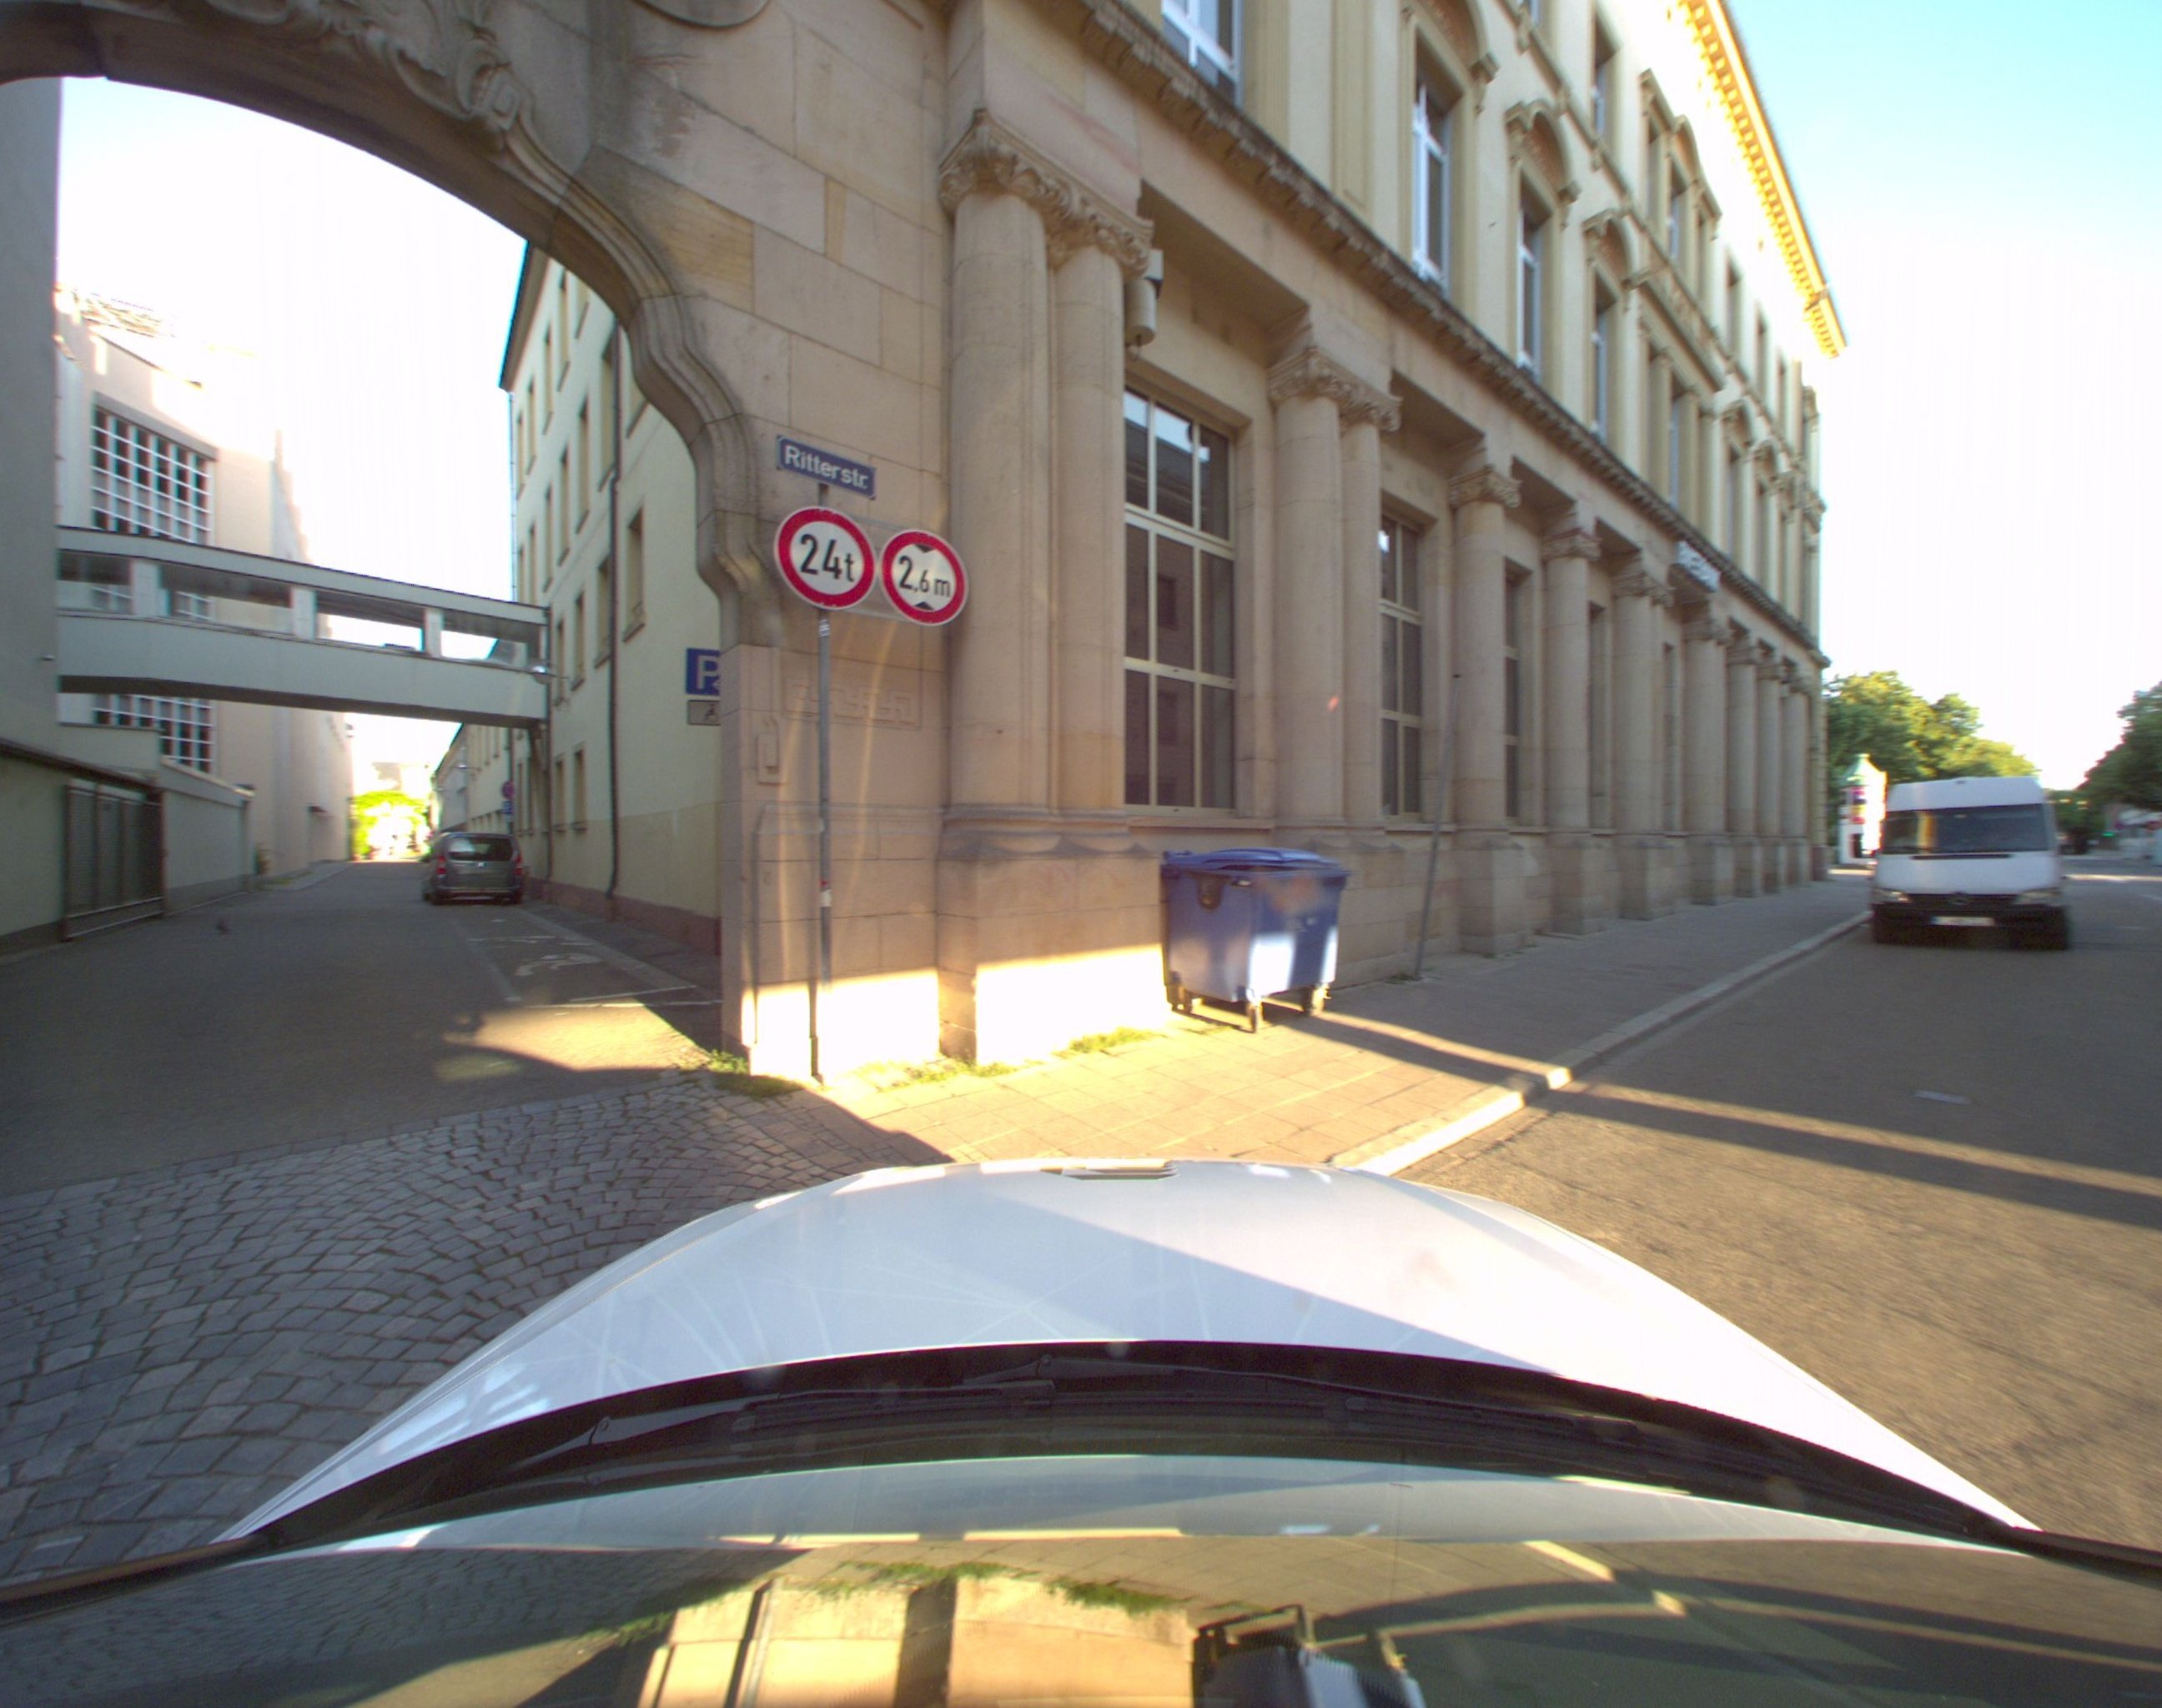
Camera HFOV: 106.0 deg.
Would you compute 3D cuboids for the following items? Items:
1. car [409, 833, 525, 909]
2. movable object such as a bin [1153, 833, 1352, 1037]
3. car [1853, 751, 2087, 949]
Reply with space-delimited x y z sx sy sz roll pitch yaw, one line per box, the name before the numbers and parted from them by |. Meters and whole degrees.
car | -15.914 0.434 21.030 1.871 1.756 4.111 4 -2 -43
movable object such as a bin | 1.391 0.571 6.656 1.192 1.474 1.066 -1 1 -36
car | 14.421 -0.047 13.160 6.503 2.512 1.978 -1 -3 -40
